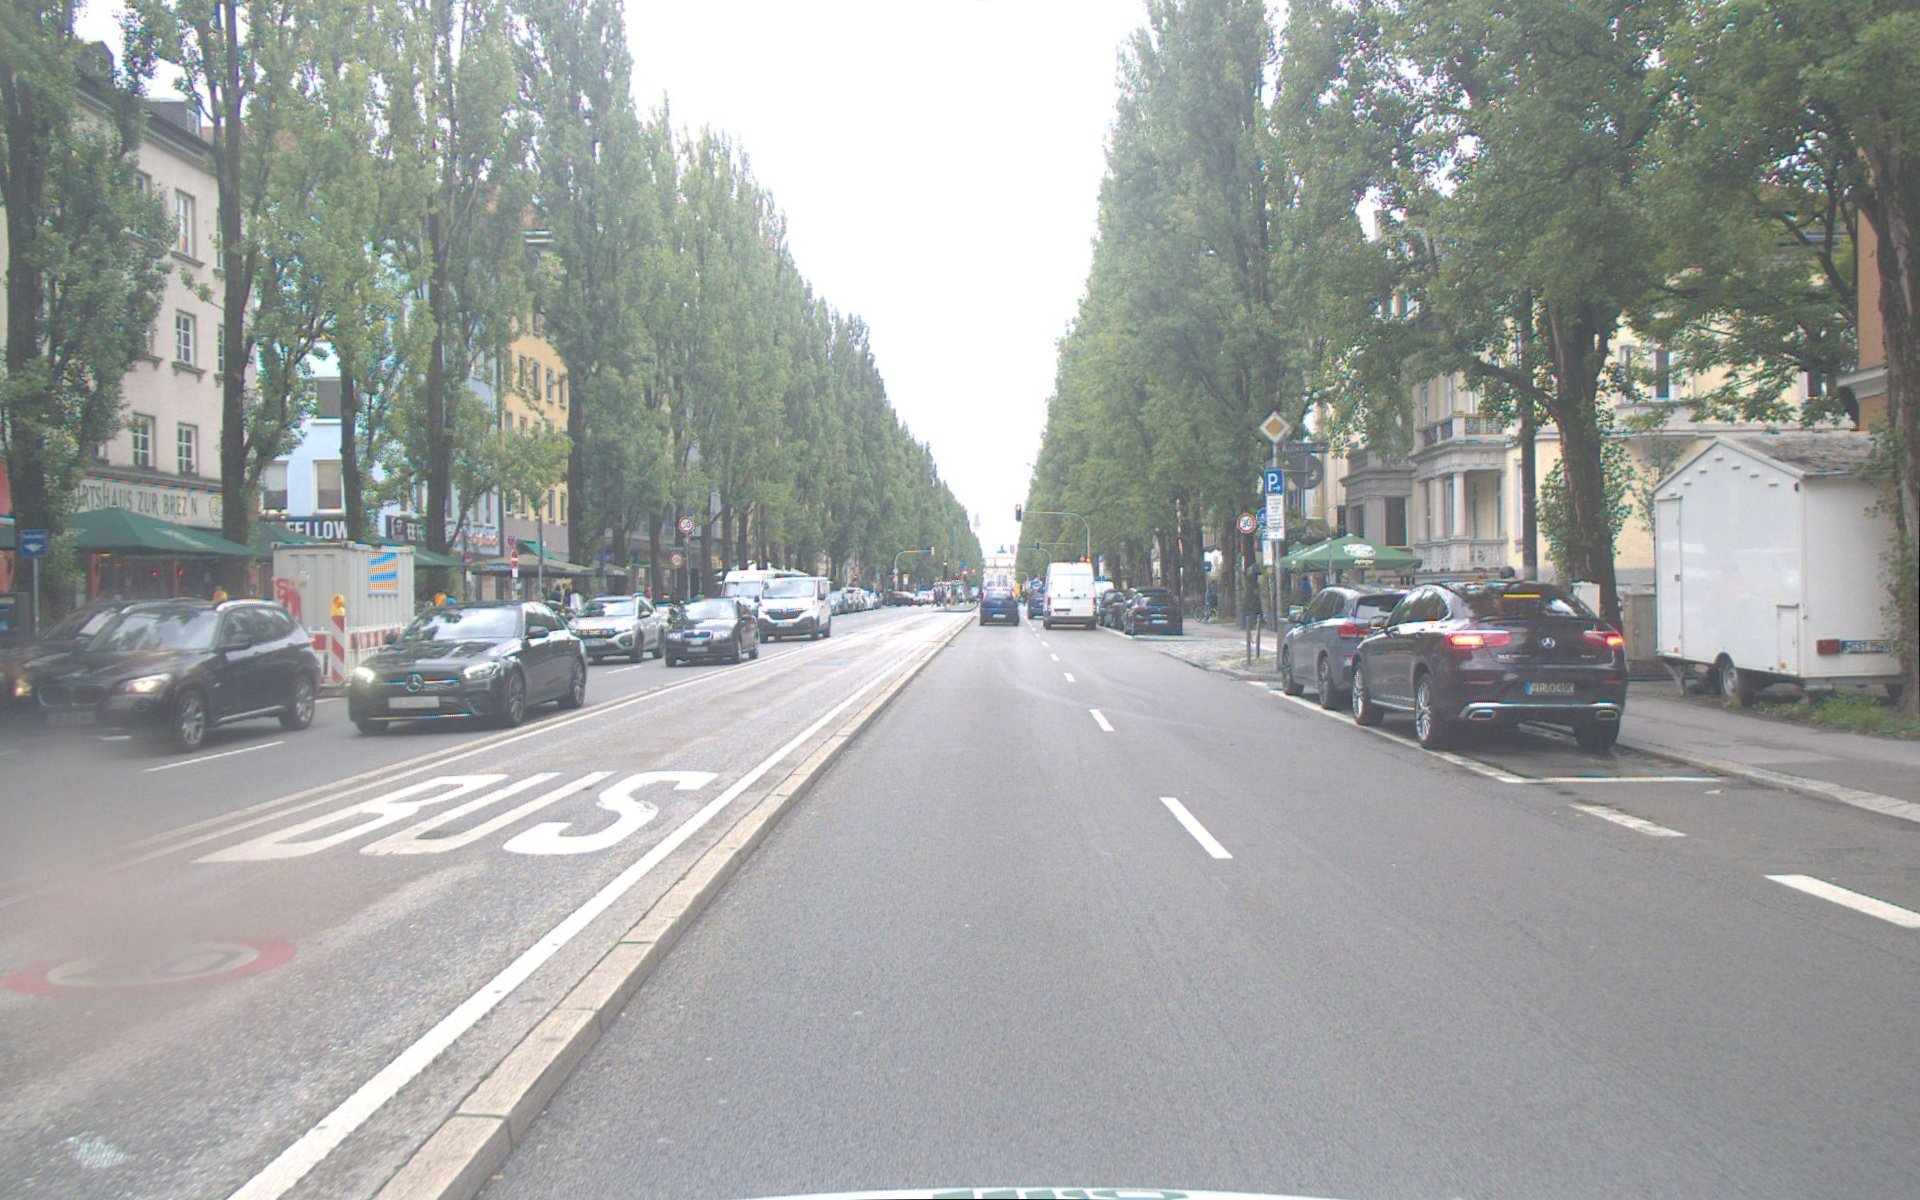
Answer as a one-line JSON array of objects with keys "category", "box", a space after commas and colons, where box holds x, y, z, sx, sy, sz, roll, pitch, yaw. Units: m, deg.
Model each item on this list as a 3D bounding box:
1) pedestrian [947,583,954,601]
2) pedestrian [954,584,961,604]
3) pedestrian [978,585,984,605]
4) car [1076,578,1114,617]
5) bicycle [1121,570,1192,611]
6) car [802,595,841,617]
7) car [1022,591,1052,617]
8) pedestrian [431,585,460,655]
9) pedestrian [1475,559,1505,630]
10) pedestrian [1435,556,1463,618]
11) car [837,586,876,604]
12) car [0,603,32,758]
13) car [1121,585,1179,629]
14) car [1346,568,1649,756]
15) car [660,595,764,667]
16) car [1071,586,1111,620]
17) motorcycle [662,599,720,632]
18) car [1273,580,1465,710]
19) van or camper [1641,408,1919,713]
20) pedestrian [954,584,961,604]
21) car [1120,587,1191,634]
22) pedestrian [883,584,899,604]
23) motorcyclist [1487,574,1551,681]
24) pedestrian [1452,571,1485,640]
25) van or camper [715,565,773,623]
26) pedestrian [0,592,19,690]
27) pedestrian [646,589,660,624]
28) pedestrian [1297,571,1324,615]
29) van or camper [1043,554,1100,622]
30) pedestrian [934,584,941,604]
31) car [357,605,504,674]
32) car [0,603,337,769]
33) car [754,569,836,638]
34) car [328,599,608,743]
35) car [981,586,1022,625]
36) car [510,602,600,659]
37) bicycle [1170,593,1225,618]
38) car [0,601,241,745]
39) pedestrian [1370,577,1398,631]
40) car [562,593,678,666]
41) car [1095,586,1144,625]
[{"category": "pedestrian", "box": [-1.080, -0.872, 188.417, 0.754, 2.049, 0.897, 0, -1, 1]}, {"category": "pedestrian", "box": [-0.237, -0.525, 147.985, 0.541, 1.746, 0.493, -2, 0, 2]}, {"category": "pedestrian", "box": [1.891, -0.441, 149.674, 0.541, 1.746, 0.493, -2, 0, 2]}, {"category": "car", "box": [7.222, -0.102, 88.557, 1.767, 2.027, 4.000, 0, -1, 1]}, {"category": "bicycle", "box": [9.885, -0.460, 83.151, 3.473, 2.049, 1.298, 0, -1, 10]}, {"category": "car", "box": [-9.229, 0.432, 110.126, 1.951, 1.445, 4.002, 0, -1, 4]}, {"category": "car", "box": [4.004, 0.200, 86.275, 1.473, 1.336, 3.283, -1, 0, 1]}, {"category": "pedestrian", "box": [-13.506, 0.528, 43.421, 0.654, 1.818, 0.827, 0, -1, -15]}, {"category": "pedestrian", "box": [14.383, -0.136, 44.901, 0.686, 1.905, 0.766, 0, -1, 10]}, {"category": "pedestrian", "box": [13.210, -0.341, 44.718, 0.634, 1.675, 0.766, 0, -1, 10]}, {"category": "car", "box": [-10.590, -0.490, 169.713, 3.911, 1.775, 1.997, 0, -1, -7]}, {"category": "car", "box": [-11.200, 0.908, 15.598, 1.952, 1.624, 4.893, -2, 1, 2]}, {"category": "car", "box": [7.079, 0.248, 61.832, 1.748, 1.551, 3.941, -1, 0, 1]}, {"category": "car", "box": [5.412, 0.547, 17.314, 1.841, 1.670, 4.585, -1, 0, 3]}, {"category": "car", "box": [-5.376, 0.638, 36.243, 1.676, 1.438, 3.723, -1, 0, 0]}, {"category": "car", "box": [6.529, 0.176, 82.526, 1.726, 1.624, 4.000, 0, -1, 1]}, {"category": "motorcycle", "box": [-10.143, 0.583, 62.636, 1.212, 1.160, 3.719, -1, 0, 6]}, {"category": "car", "box": [5.534, 0.545, 22.895, 1.590, 1.592, 4.372, -1, 0, 0]}, {"category": "van or camper", "box": [10.254, -0.456, 19.687, 2.409, 3.166, 4.717, -2, 0, 2]}, {"category": "pedestrian", "box": [-0.255, -0.565, 149.832, 0.541, 1.746, 0.493, -2, 0, 2]}, {"category": "car", "box": [6.582, 0.335, 55.999, 1.904, 1.493, 4.000, -1, 0, 0]}, {"category": "pedestrian", "box": [-6.819, -0.585, 163.643, 1.126, 1.950, 1.142, -1, 0, -30]}, {"category": "motorcyclist", "box": [7.710, 0.369, 22.832, 0.553, 1.431, 0.765, -2, 0, -3]}, {"category": "pedestrian", "box": [12.604, 0.132, 41.022, 0.655, 1.679, 0.625, -1, 0, 28]}, {"category": "van or camper", "box": [-9.784, -0.282, 75.145, 1.952, 2.501, 4.252, -1, 0, 1]}, {"category": "pedestrian", "box": [-18.940, 0.794, 32.365, 0.625, 1.894, 0.648, -1, 0, 1]}, {"category": "pedestrian", "box": [-16.679, 0.370, 89.778, 0.570, 1.889, 0.675, -1, 0, 1]}, {"category": "pedestrian", "box": [14.490, -0.282, 68.346, 0.798, 1.786, 0.931, -2, 0, 33]}, {"category": "van or camper", "box": [4.350, -0.421, 64.894, 1.992, 2.519, 4.000, -1, -1, 1]}, {"category": "pedestrian", "box": [-2.033, -0.532, 148.285, 0.541, 1.746, 0.493, -2, 0, 2]}, {"category": "car", "box": [-10.788, 0.766, 33.962, 1.773, 1.272, 3.701, -1, 0, 0]}, {"category": "car", "box": [-8.704, 0.870, 18.474, 1.810, 1.592, 4.212, -1, -1, 1]}, {"category": "car", "box": [-5.179, 0.110, 52.488, 1.953, 1.967, 4.918, -3, 0, 1]}, {"category": "car", "box": [-5.925, 0.783, 20.596, 1.952, 1.457, 4.772, -2, 1, 1]}, {"category": "car", "box": [1.785, 0.244, 70.802, 1.723, 1.648, 3.747, 0, -1, 1]}, {"category": "car", "box": [-10.554, 0.770, 43.288, 1.481, 1.368, 3.237, -2, 0, 0]}, {"category": "bicycle", "box": [10.267, 0.250, 71.672, 0.752, 1.041, 2.702, -1, 0, -33]}, {"category": "car", "box": [-11.290, 0.864, 21.422, 1.810, 1.592, 4.335, -1, 1, 3]}, {"category": "pedestrian", "box": [15.084, 0.152, 58.821, 0.745, 1.886, 0.740, -1, 0, -2]}, {"category": "car", "box": [-7.921, 0.668, 38.854, 1.788, 1.559, 4.000, -2, -1, 1]}, {"category": "car", "box": [6.820, 0.254, 71.117, 1.767, 1.624, 4.000, 0, -1, 1]}]
